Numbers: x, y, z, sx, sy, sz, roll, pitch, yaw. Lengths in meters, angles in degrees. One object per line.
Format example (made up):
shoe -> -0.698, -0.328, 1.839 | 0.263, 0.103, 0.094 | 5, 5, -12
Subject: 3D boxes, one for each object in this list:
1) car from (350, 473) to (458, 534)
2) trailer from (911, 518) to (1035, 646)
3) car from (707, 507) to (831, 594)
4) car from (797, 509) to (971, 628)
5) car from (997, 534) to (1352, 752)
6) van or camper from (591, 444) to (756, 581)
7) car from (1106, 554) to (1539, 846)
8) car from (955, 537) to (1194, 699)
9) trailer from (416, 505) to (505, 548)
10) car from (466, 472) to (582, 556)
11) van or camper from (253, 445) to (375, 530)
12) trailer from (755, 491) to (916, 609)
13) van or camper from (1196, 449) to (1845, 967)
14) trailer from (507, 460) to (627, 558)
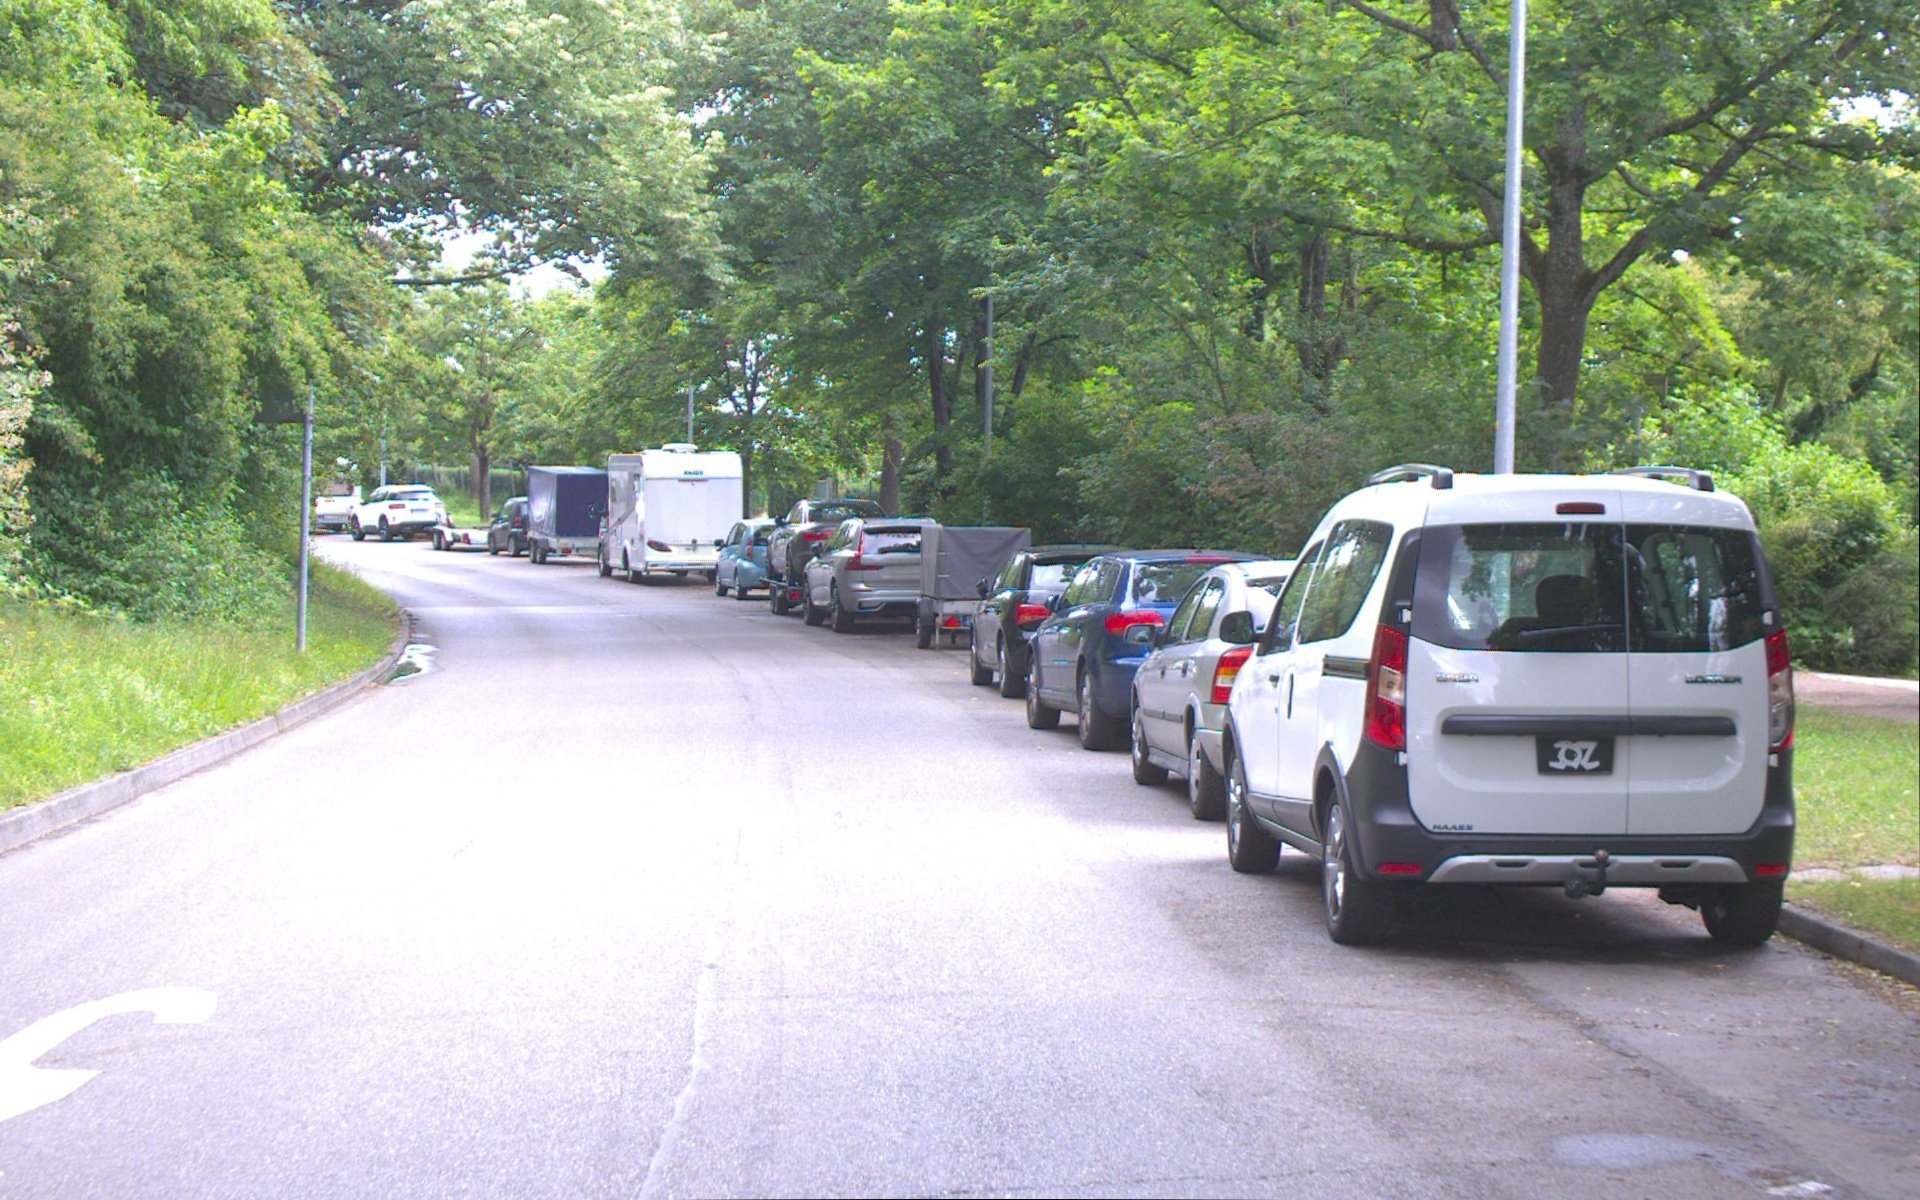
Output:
car -> -16.845, -2.943, 104.053 | 2.034, 1.797, 4.084 | -1, 3, -27
trailer -> 0.147, -0.250, 44.361 | 1.278, 1.579, 2.461 | 1, 1, -7
car -> -3.697, -0.968, 66.013 | 1.799, 1.556, 3.837 | 0, 2, -12
car -> -1.173, -0.456, 50.480 | 1.791, 1.664, 4.503 | 0, 0, -11
car -> 1.523, 0.262, 26.166 | 1.847, 1.469, 4.480 | 1, 1, -8
van or camper -> -6.399, -1.946, 75.970 | 2.481, 2.866, 6.892 | 0, 2, -14
car -> 2.005, 0.502, 20.262 | 1.812, 1.432, 4.243 | 2, 1, -3
car -> 1.050, 0.133, 33.578 | 1.720, 1.448, 3.918 | 1, 1, -7
trailer -> -13.863, -2.046, 95.236 | 1.651, 1.083, 4.002 | -2, 3, -20
car -> -11.653, -2.328, 91.668 | 1.993, 2.018, 4.002 | -3, 4, -23
van or camper -> -21.011, -3.676, 111.727 | 2.526, 2.688, 4.576 | -2, 3, -30
trailer -> -2.106, -0.864, 56.766 | 1.978, 1.805, 5.150 | 0, 2, -10
van or camper -> 2.168, 0.394, 14.511 | 1.802, 1.831, 4.321 | 1, 0, -3
trailer -> -9.905, -2.307, 86.431 | 1.993, 2.390, 4.001 | 0, 2, -22
